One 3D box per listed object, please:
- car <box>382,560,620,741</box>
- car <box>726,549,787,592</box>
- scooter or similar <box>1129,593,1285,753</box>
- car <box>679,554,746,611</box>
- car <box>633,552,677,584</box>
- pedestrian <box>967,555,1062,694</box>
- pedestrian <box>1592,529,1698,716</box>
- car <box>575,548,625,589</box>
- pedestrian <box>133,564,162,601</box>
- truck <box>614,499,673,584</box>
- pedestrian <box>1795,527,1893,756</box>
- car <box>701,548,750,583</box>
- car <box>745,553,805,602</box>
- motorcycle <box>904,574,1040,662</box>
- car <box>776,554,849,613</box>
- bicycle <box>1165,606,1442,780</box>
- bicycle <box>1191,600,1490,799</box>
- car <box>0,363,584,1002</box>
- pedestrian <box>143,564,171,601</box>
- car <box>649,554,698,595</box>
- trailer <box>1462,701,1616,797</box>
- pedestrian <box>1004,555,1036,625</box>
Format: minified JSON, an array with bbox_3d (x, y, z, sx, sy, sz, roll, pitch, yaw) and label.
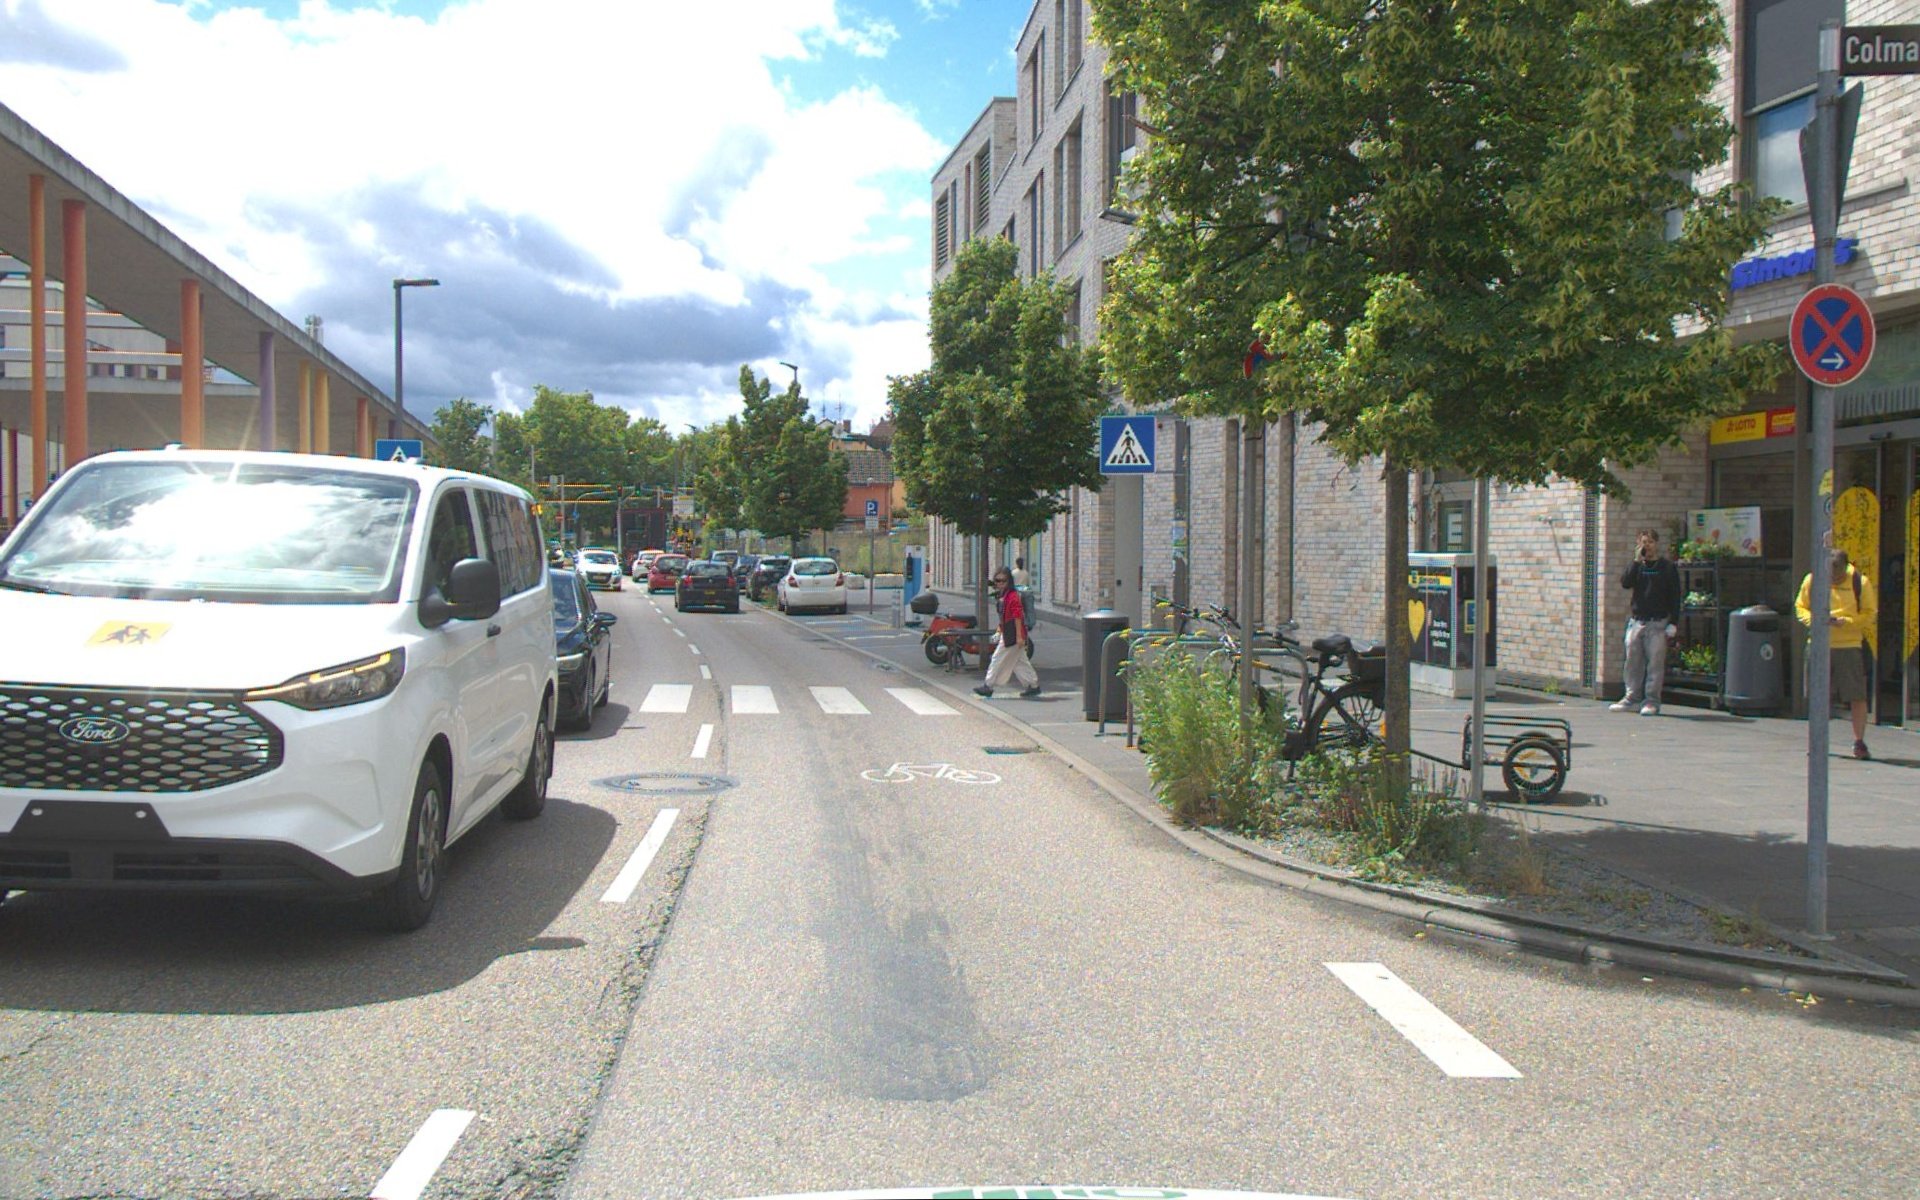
[{"bbox_3d":[-4.287,0.386,16.036,1.740,1.489,4.225,1,1,-9],"label":"car"},{"bbox_3d":[-7.612,-1.118,61.550,1.832,1.476,4.630,-1,2,-12],"label":"car"},{"bbox_3d":[2.030,0.588,13.654,1.173,1.271,0.493,-1,1,-6],"label":"scooter or similar"},{"bbox_3d":[-7.073,-0.519,47.033,1.696,1.482,3.799,-1,2,-11],"label":"car"},{"bbox_3d":[-14.877,-1.572,80.552,1.856,1.491,4.055,-1,1,-14],"label":"car"},{"bbox_3d":[0.632,0.292,19.514,0.911,1.592,0.812,1,-1,-14],"label":"pedestrian"},{"bbox_3d":[6.729,0.201,16.239,0.648,1.772,1.011,1,1,43],"label":"pedestrian"},{"bbox_3d":[-13.662,-1.216,62.925,1.779,1.494,3.897,1,1,-11],"label":"car"},{"bbox_3d":[-31.544,-0.675,64.215,0.808,1.403,0.700,1,2,-12],"label":"pedestrian"},{"bbox_3d":[-18.491,-3.302,96.334,3.147,4.615,9.002,1,0,-12],"label":"truck"},{"bbox_3d":[6.874,0.305,12.874,0.645,1.722,0.631,0,1,28],"label":"pedestrian"},{"bbox_3d":[-10.749,-1.591,75.673,1.752,1.477,4.461,-2,2,-14],"label":"car"},{"bbox_3d":[-6.180,-0.784,55.014,1.662,1.486,4.137,-1,2,-11],"label":"car"},{"bbox_3d":[0.196,0.269,25.524,2.007,1.288,0.673,-2,1,5],"label":"motorcycle"},{"bbox_3d":[-4.145,-0.488,45.912,1.662,1.509,3.789,-1,2,-10],"label":"car"},{"bbox_3d":[2.427,0.638,11.797,1.787,1.151,0.755,-1,1,-6],"label":"bicycle"},{"bbox_3d":[2.501,0.633,10.980,1.787,1.222,0.755,-1,1,-6],"label":"bicycle"},{"bbox_3d":[-3.171,0.220,8.027,1.955,2.048,5.387,2,1,-6],"label":"car"},{"bbox_3d":[-31.675,-0.682,65.227,0.808,1.403,0.700,1,2,-12],"label":"pedestrian"},{"bbox_3d":[-10.717,-0.982,61.667,1.682,1.417,3.798,-1,3,-12],"label":"car"},{"bbox_3d":[3.772,0.967,10.827,0.705,0.537,0.811,1,1,-2],"label":"trailer"},{"bbox_3d":[1.301,-0.222,36.089,0.595,1.498,0.790,-1,2,-4],"label":"pedestrian"}]
